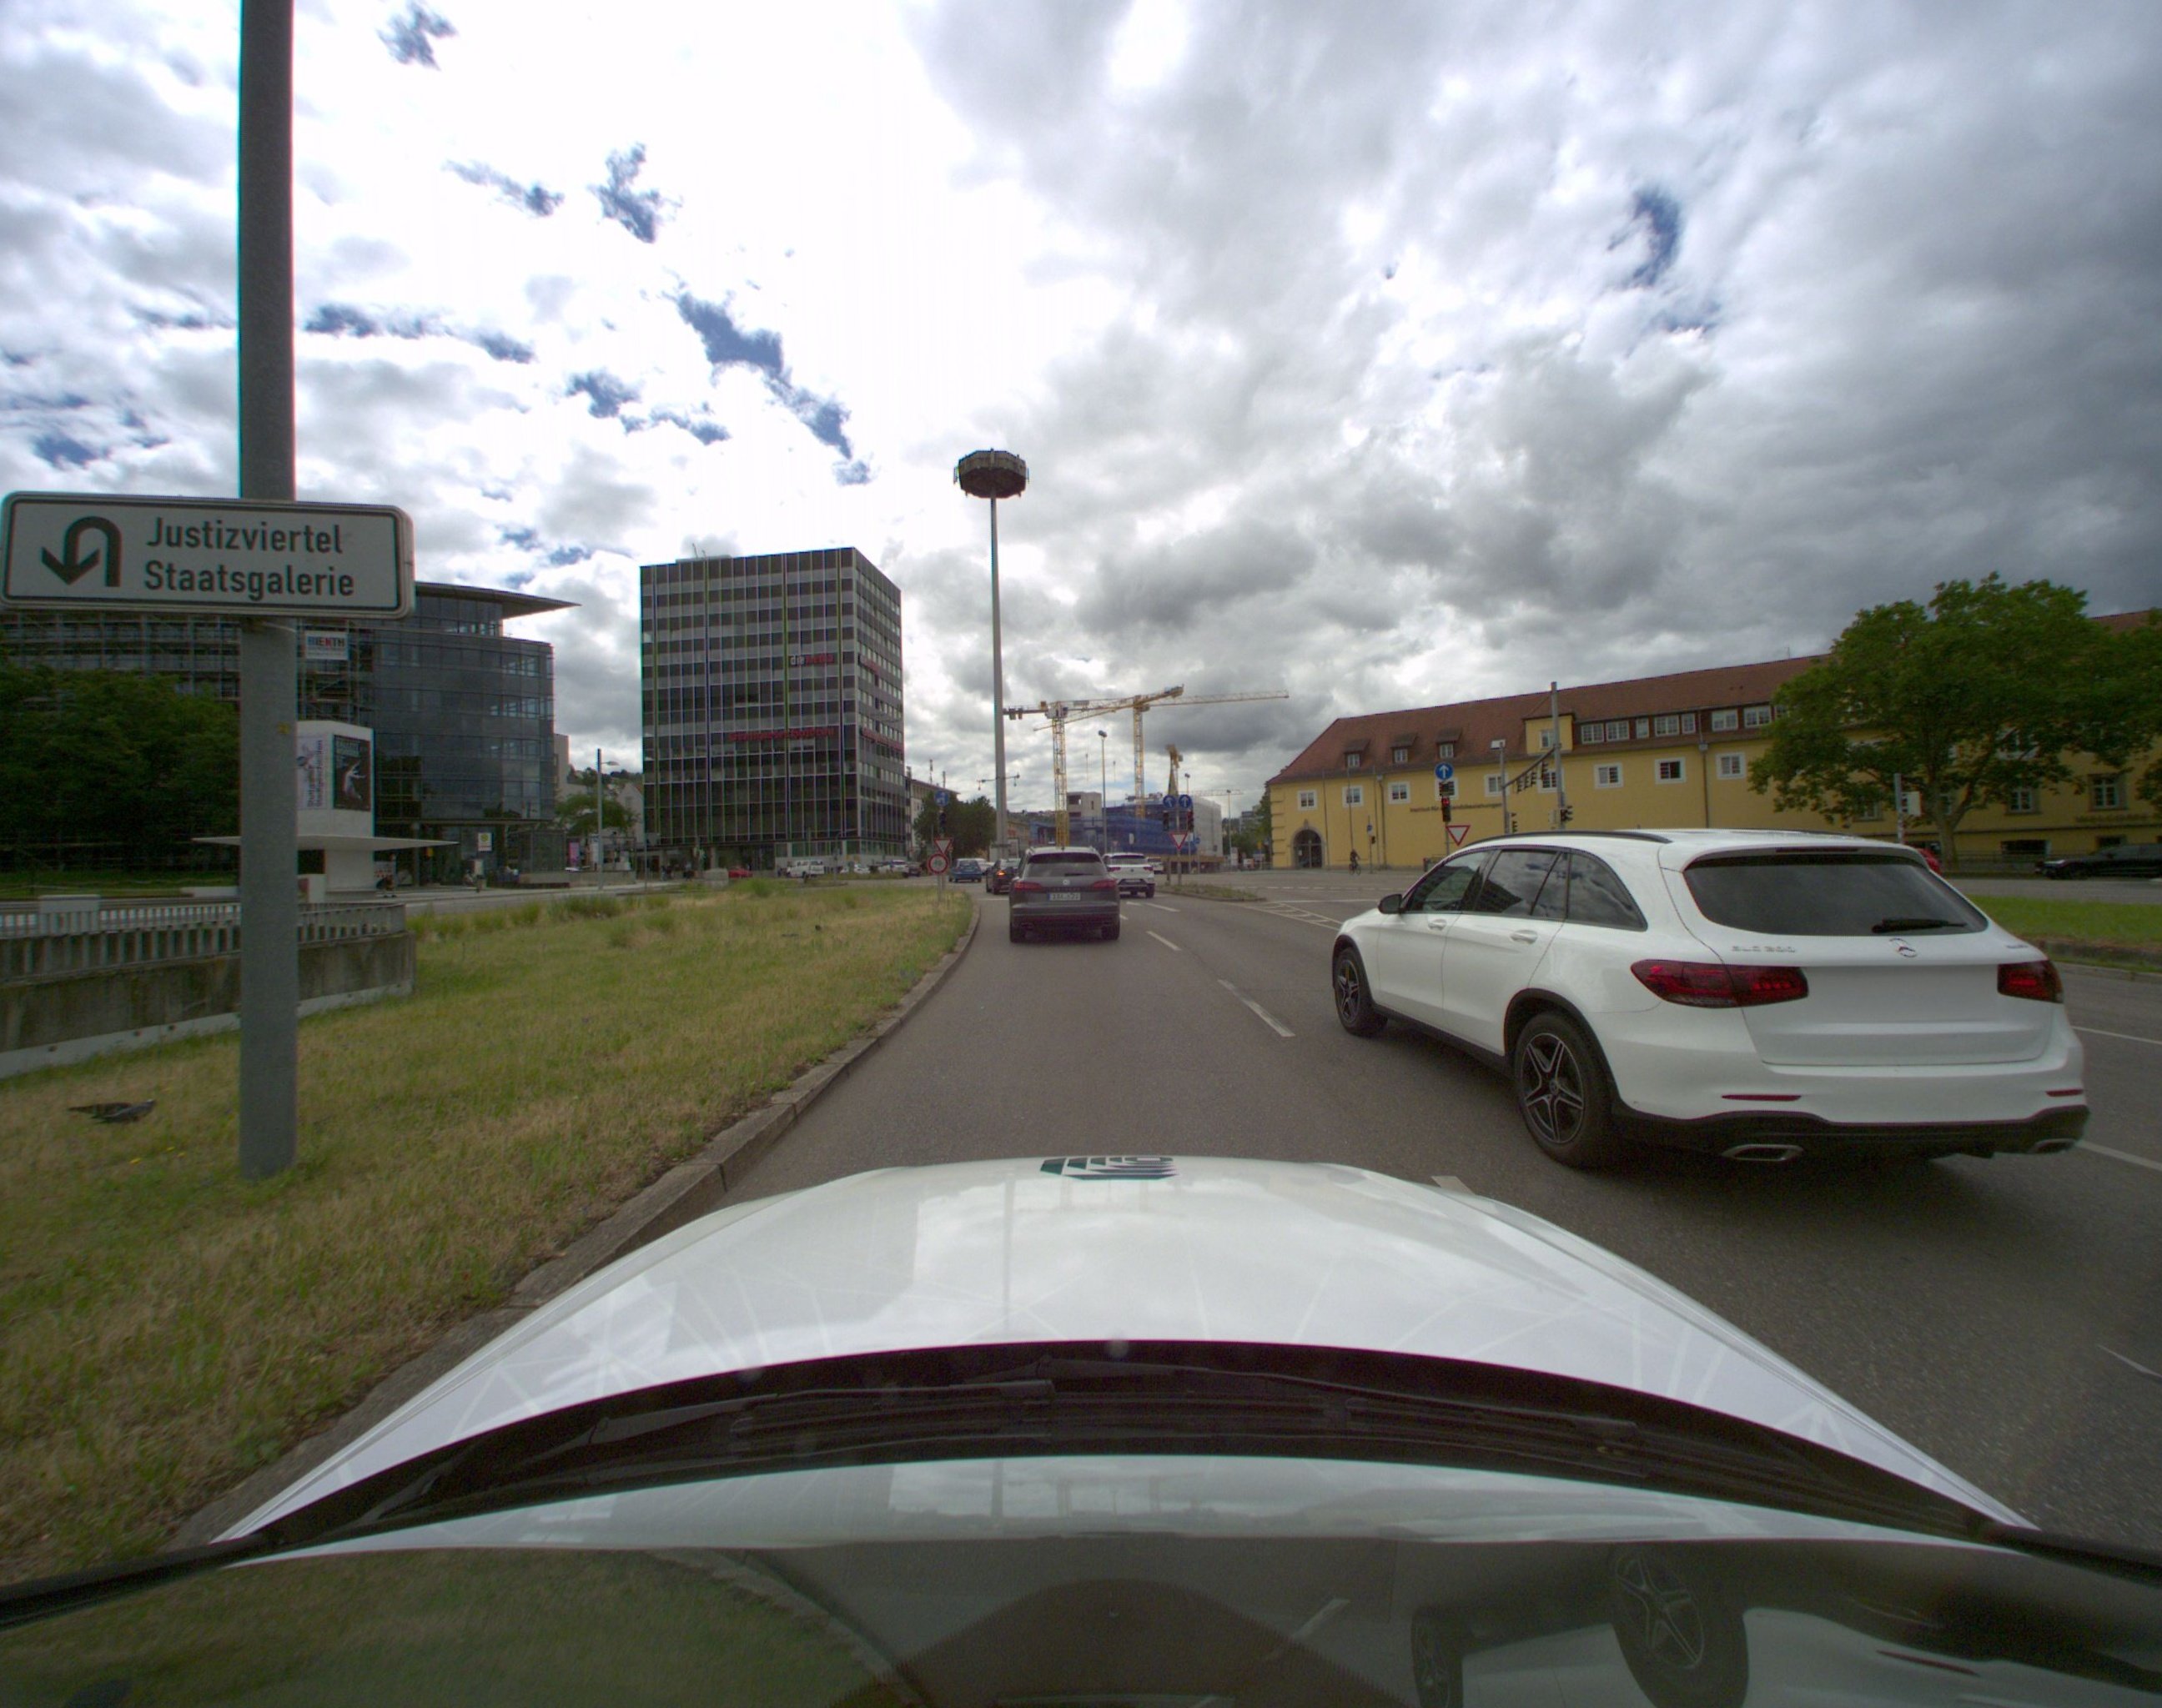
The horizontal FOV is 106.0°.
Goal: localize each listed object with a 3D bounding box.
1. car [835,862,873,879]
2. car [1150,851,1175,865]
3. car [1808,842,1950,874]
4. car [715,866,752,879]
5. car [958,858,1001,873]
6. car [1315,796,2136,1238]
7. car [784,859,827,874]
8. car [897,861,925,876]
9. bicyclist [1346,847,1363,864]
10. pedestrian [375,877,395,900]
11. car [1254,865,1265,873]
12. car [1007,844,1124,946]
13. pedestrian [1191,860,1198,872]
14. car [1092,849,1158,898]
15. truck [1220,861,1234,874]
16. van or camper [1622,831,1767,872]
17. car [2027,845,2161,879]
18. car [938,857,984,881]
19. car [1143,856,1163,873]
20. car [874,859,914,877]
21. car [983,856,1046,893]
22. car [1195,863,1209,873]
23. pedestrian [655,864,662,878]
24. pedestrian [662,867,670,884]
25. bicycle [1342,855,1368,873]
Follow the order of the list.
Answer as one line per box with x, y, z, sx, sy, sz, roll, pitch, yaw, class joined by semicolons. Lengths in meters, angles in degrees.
-24.410;1.765;87.659;3.949;1.610;1.913;1;5;39;car
10.121;0.468;100.859;1.971;1.666;4.002;-1;0;21;car
37.929;0.191;38.882;4.632;1.420;1.607;-1;0;35;car
-39.840;2.103;93.329;3.931;1.502;1.735;-1;0;26;car
-7.951;0.901;63.471;1.682;1.139;4.026;-1;0;-35;car
3.121;0.596;5.307;1.814;1.647;4.376;-1;0;-2;car
-29.533;1.313;87.343;4.552;1.502;2.266;-1;1;39;car
-16.680;1.373;79.762;1.651;1.396;3.562;-1;0;-31;car
18.912;0.101;56.263;0.920;1.159;0.725;0;0;-2;bicyclist
-34.374;1.698;40.225;0.472;1.081;0.561;0;0;4;pedestrian
45.632;3.821;208.400;1.988;2.013;3.998;-1;0;-1;car
-0.414;0.665;15.571;1.929;1.647;3.993;-1;0;-5;car
11.733;1.231;84.137;0.544;1.282;0.464;0;0;18;pedestrian
1.507;0.647;29.191;1.890;1.585;3.795;-1;0;-4;car
29.031;2.608;161.983;2.111;2.453;4.850;-1;0;18;truck
32.325;-0.107;43.095;5.947;2.013;2.032;-1;0;38;van or camper
43.829;0.352;34.856;4.037;1.413;1.670;-1;0;35;car
-7.525;0.918;50.869;1.801;1.356;4.037;-1;0;-24;car
6.849;1.001;77.101;1.794;1.502;3.987;-1;0;6;car
-16.675;1.229;72.566;1.830;1.496;3.860;-1;1;-41;car
-2.755;0.801;32.953;1.797;1.356;4.048;-1;0;-16;car
19.605;2.213;131.669;1.790;1.502;3.997;-1;0;15;car
-41.215;1.675;79.440;0.540;1.396;0.647;0;0;-37;pedestrian
-40.672;2.092;79.796;0.627;1.593;0.584;0;0;-37;pedestrian
18.916;0.671;56.263;0.920;1.158;2.463;0;0;-1;bicycle
